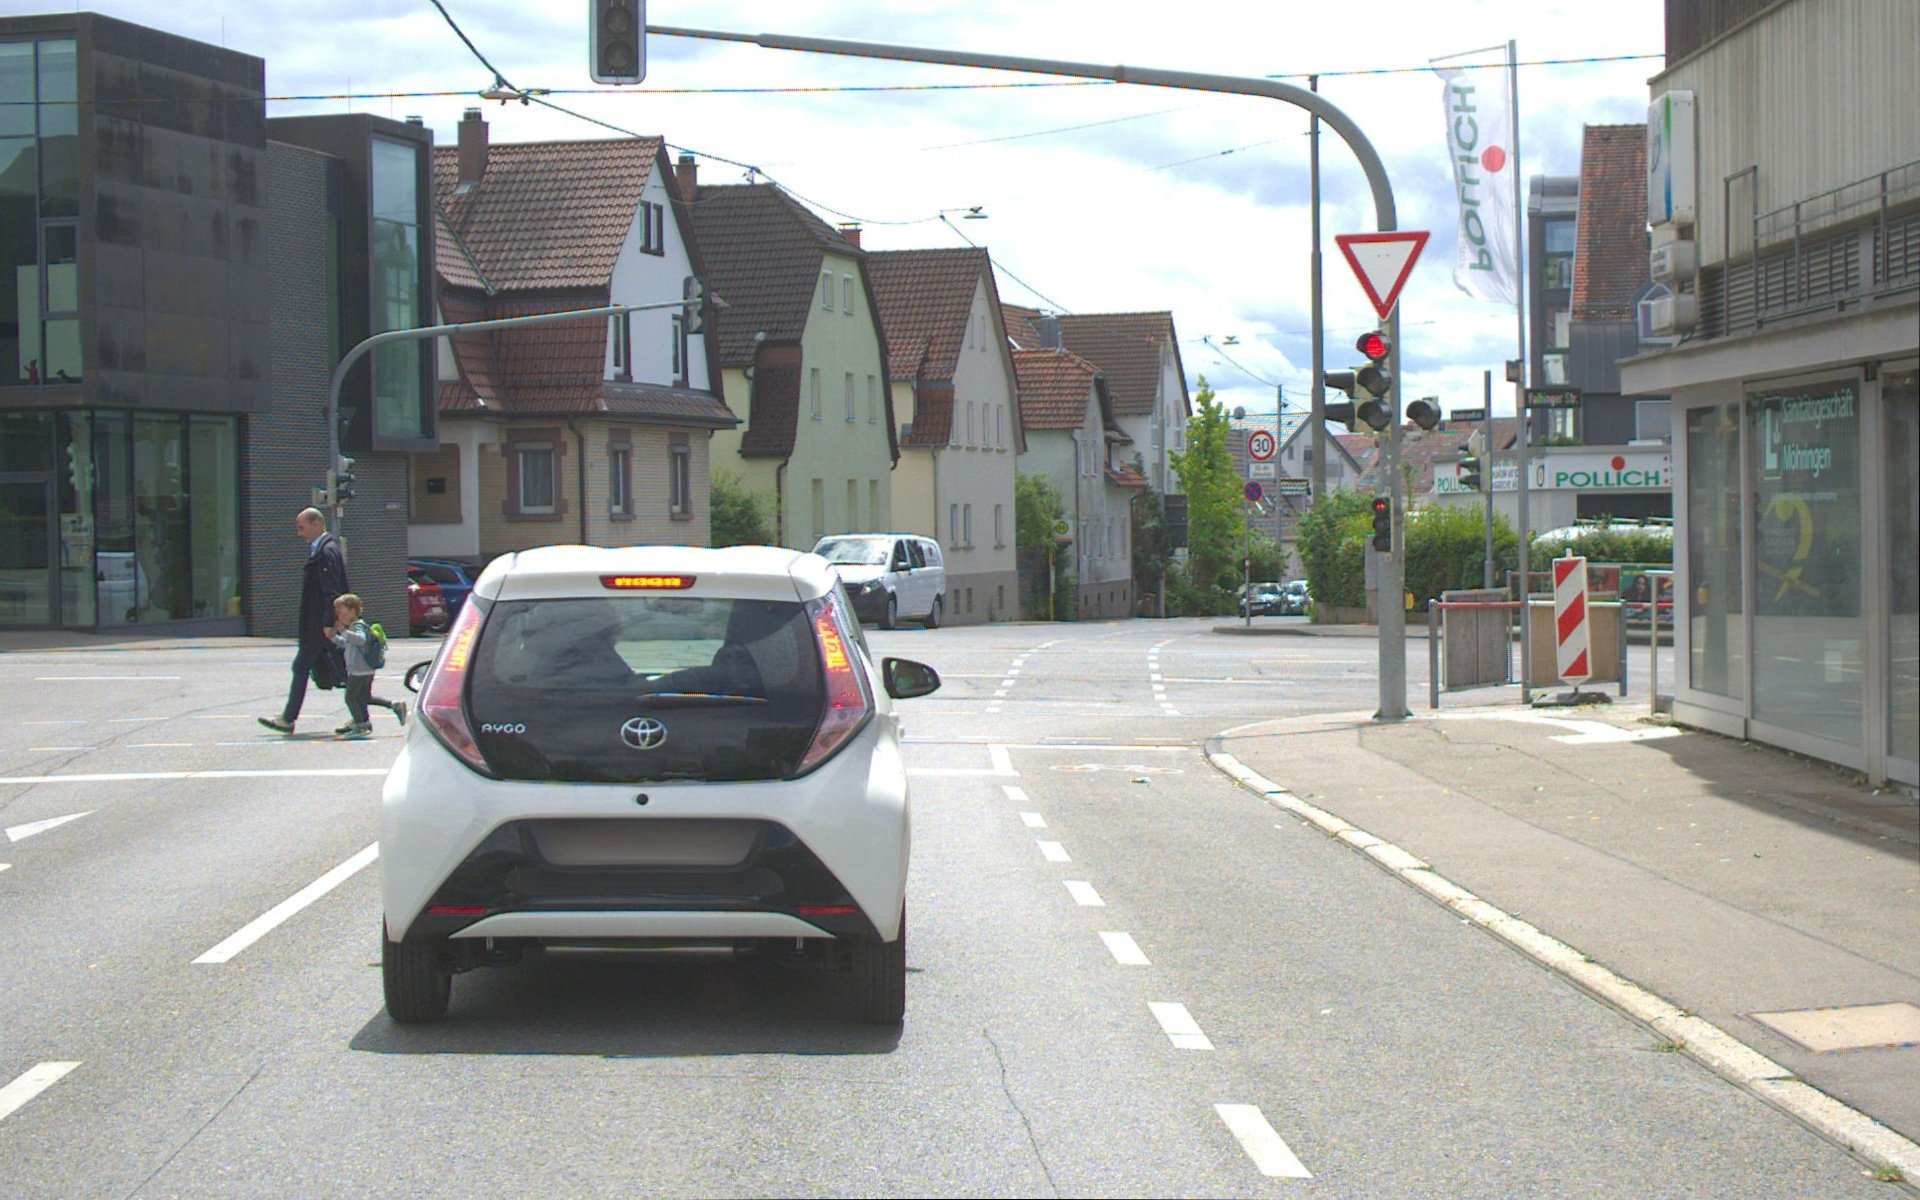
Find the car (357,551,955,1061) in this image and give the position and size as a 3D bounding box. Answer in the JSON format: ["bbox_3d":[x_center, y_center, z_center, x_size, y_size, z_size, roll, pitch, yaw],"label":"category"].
[{"bbox_3d":[-0.961,0.575,11.576,1.697,1.451,3.299,1,1,-3],"label":"car"}]

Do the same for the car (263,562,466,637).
[{"bbox_3d":[-11.922,-0.019,68.920,3.616,1.414,1.691,1,1,11],"label":"car"}]

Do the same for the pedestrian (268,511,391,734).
[{"bbox_3d":[-4.954,0.165,26.998,0.822,1.715,0.818,0,1,-19],"label":"pedestrian"}]

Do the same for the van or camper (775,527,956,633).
[{"bbox_3d":[-1.754,-0.398,66.058,2.117,1.919,5.282,1,1,14],"label":"van or camper"}]

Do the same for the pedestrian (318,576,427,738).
[{"bbox_3d":[-4.510,0.427,26.378,0.733,1.217,0.646,0,1,-19],"label":"pedestrian"}]

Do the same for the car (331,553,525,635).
[{"bbox_3d":[-11.074,-0.132,71.678,3.616,1.600,1.691,1,1,11],"label":"car"}]
